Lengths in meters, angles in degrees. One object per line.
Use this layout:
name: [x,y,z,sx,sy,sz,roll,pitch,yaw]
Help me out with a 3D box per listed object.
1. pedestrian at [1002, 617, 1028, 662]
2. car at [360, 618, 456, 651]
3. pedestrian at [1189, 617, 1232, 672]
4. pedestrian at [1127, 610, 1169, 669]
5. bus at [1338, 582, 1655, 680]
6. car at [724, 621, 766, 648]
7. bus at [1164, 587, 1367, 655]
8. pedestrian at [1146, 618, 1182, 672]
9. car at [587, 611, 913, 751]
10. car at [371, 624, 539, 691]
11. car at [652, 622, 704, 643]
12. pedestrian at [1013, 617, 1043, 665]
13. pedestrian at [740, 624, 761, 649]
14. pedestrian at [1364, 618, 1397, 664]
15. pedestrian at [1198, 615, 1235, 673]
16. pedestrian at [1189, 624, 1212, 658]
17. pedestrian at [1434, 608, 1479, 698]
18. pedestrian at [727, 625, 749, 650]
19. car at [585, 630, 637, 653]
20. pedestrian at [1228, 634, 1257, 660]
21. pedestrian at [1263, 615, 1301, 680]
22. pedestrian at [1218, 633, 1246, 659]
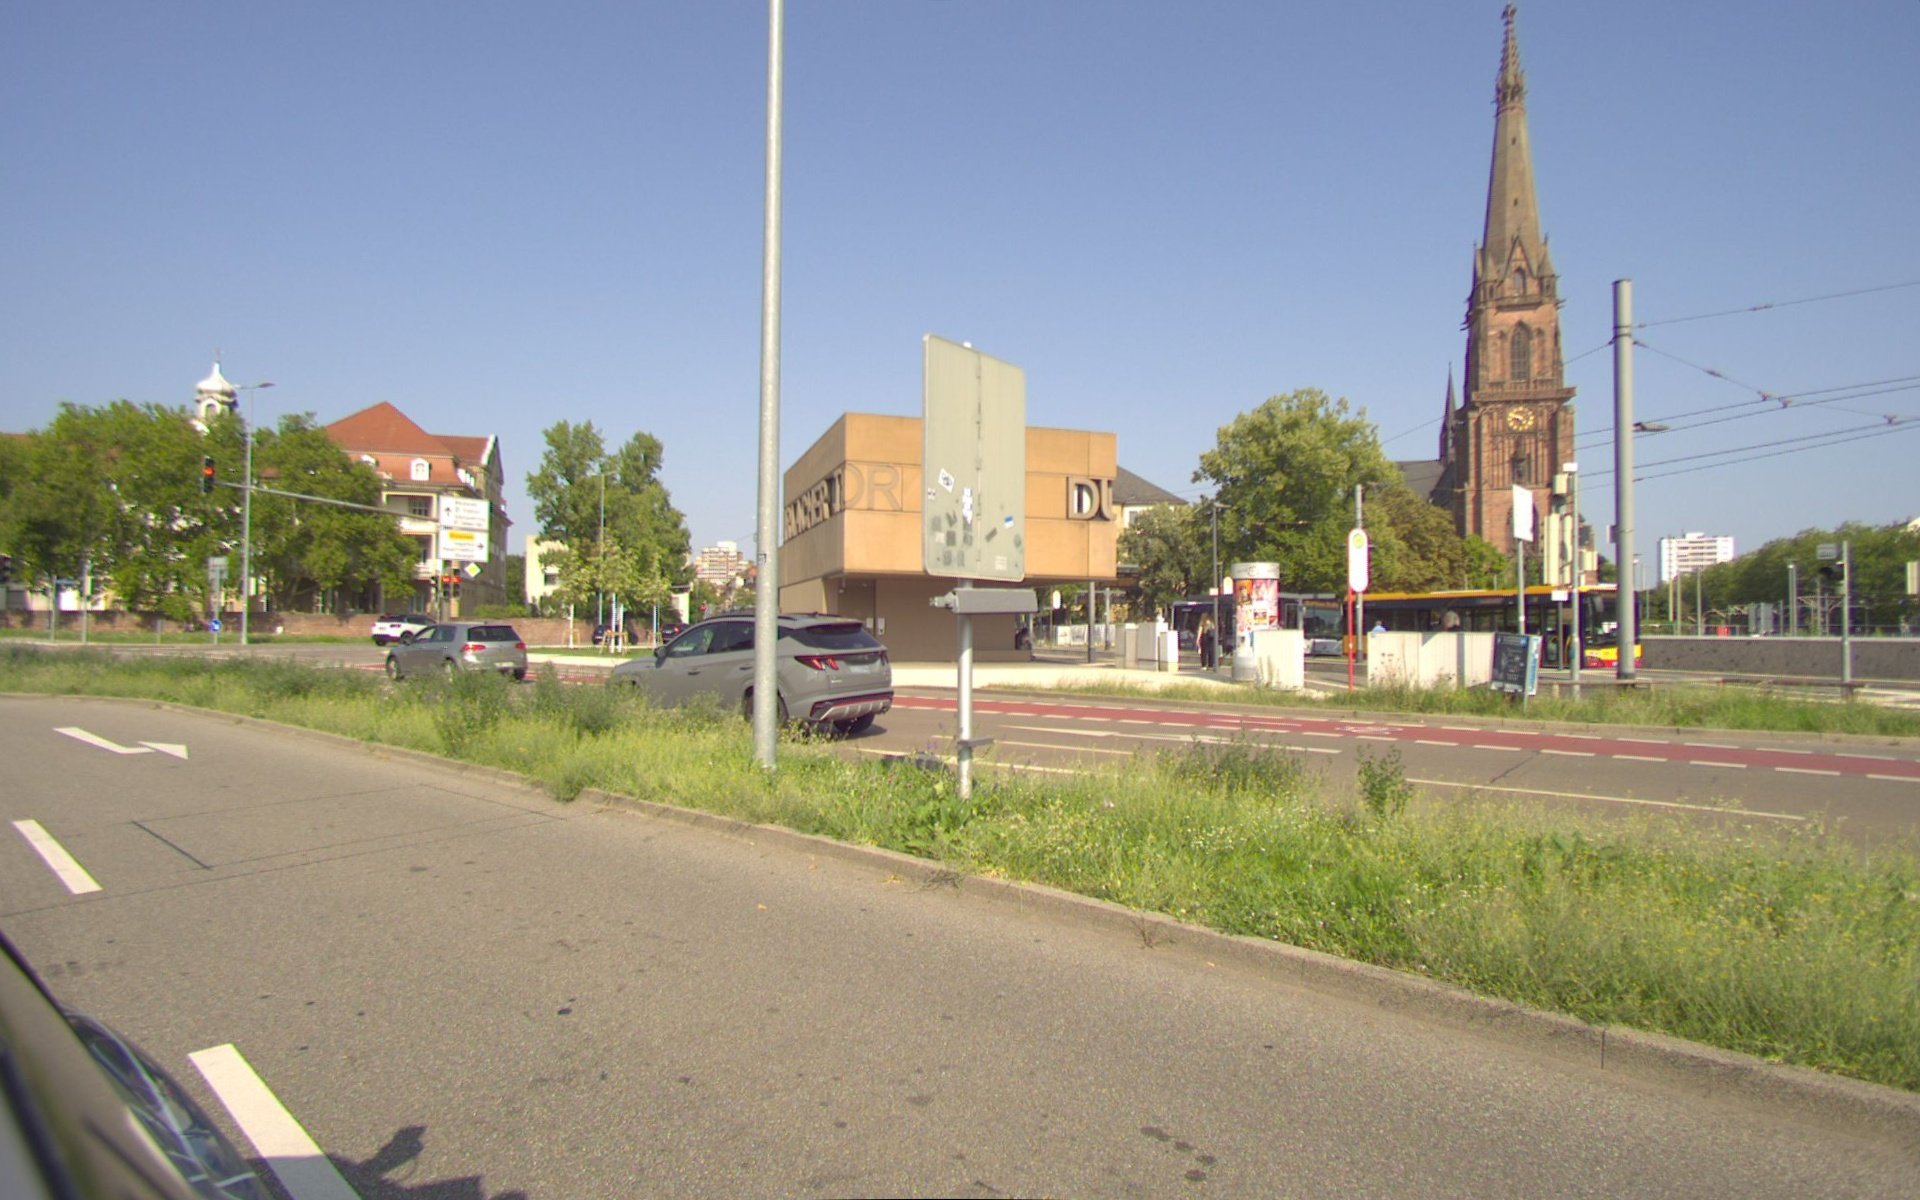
pedestrian: [2.161,1.559,39.792,0.707,1.751,0.859,1,-2,-19]
car: [-29.216,1.835,53.706,1.982,1.646,4.350,0,-2,15]
pedestrian: [7.269,1.296,29.383,0.852,1.571,0.992,1,-2,-11]
pedestrian: [5.846,1.230,31.468,0.974,1.783,0.868,2,-3,-37]
bus: [19.603,1.187,38.603,2.670,3.132,12.251,1,-2,-18]
car: [-21.287,3.358,100.433,1.979,2.470,5.530,-1,0,12]
bus: [15.079,1.143,51.819,3.243,3.000,12.835,1,-2,-18]
pedestrian: [6.560,1.443,32.490,0.863,1.685,0.979,-1,-2,31]
car: [-2.927,0.994,13.754,4.448,1.629,1.680,-1,-2,33]
car: [-12.044,1.306,24.043,4.215,1.444,1.798,-1,-2,35]
car: [-22.034,2.557,79.257,1.982,1.646,4.350,0,-2,15]
pedestrian: [2.441,1.468,36.551,0.851,1.718,0.734,1,-2,-21]
pedestrian: [-17.380,3.034,83.945,1.204,2.029,1.333,-1,-2,21]
pedestrian: [16.488,1.602,39.670,0.816,1.752,0.838,1,-2,-17]
pedestrian: [7.835,1.343,30.924,0.863,1.718,0.979,-1,-2,31]
pedestrian: [12.403,2.105,52.207,0.816,1.719,0.838,1,-2,-24]
pedestrian: [10.280,1.086,20.951,0.700,1.814,0.770,-1,-2,37]
pedestrian: [-18.115,3.046,82.643,1.204,2.029,1.333,-1,-2,21]
car: [-24.360,2.889,70.751,1.610,1.509,3.832,0,-2,14]
pedestrian: [12.679,2.095,45.473,1.013,1.142,0.740,1,-2,-26]
pedestrian: [9.186,1.347,28.929,0.689,1.814,0.782,1,-2,-20]
pedestrian: [12.454,2.097,46.316,1.013,1.142,0.740,1,-2,-26]
